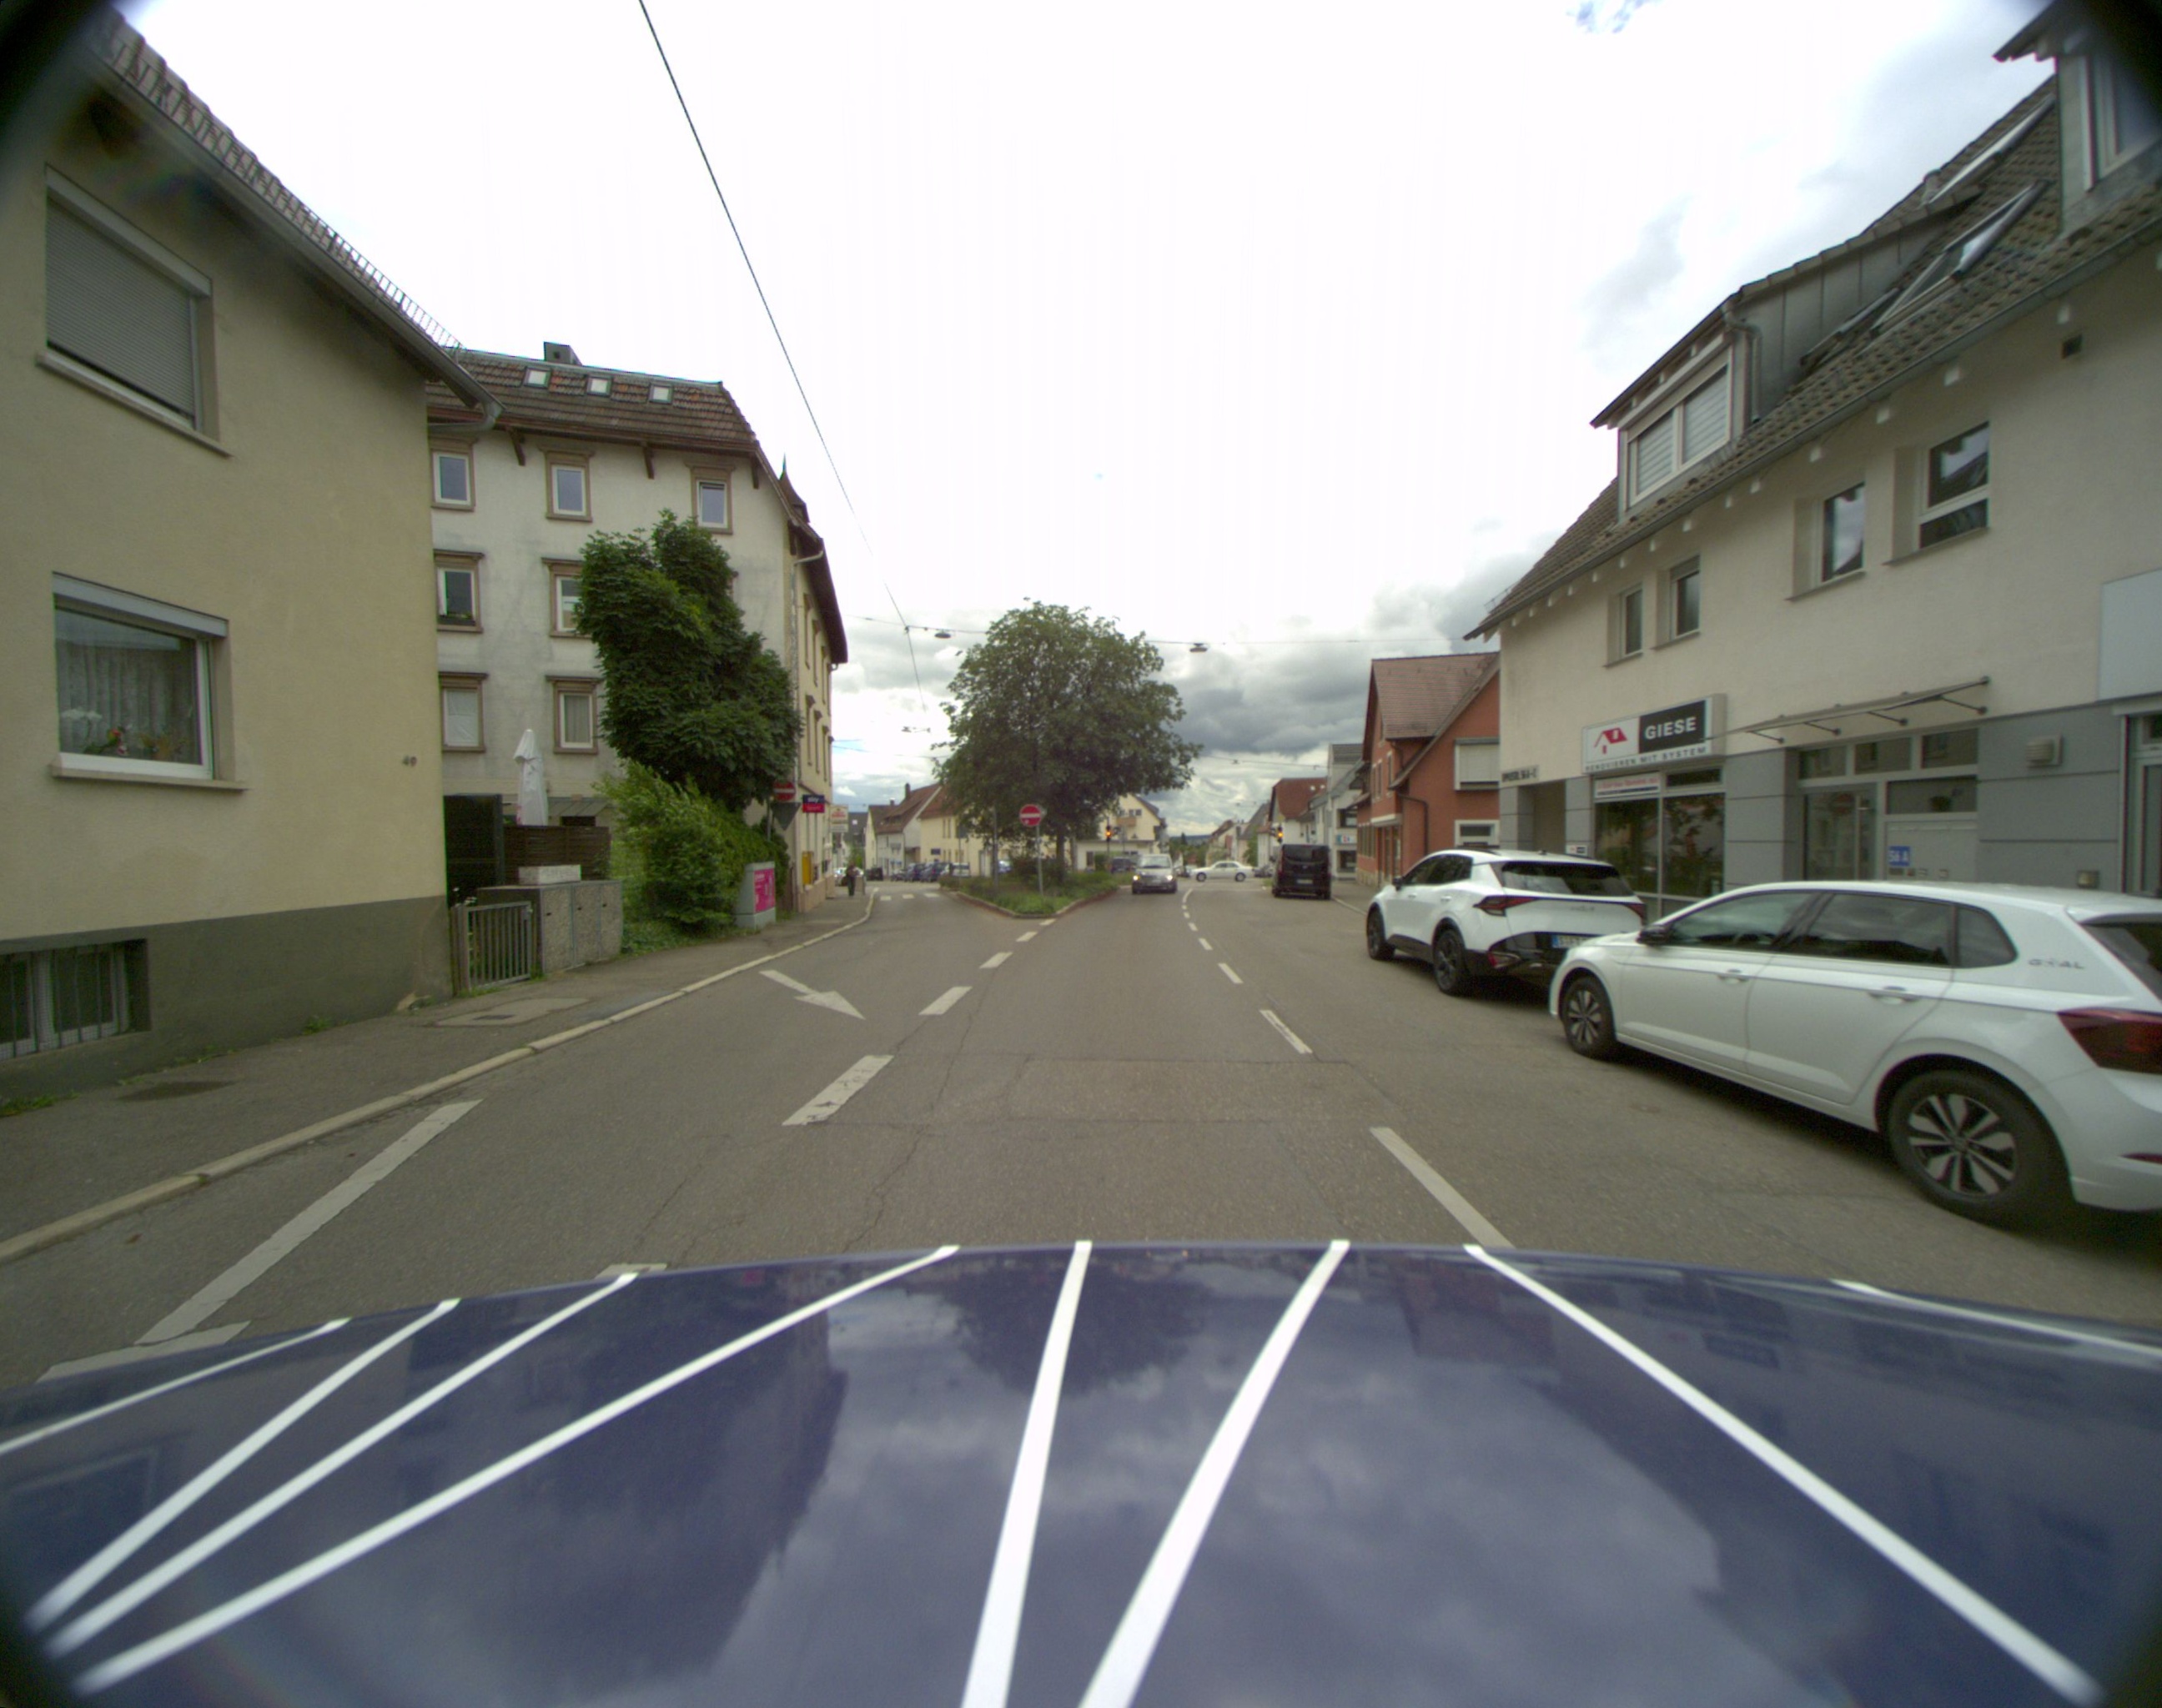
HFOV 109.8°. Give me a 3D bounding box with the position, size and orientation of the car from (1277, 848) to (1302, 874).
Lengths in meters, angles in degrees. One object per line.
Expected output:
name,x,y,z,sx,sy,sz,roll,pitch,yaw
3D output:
car,16.989,0.585,62.020,1.814,1.993,4.769,2,-1,14

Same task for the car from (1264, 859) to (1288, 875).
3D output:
car,21.501,1.465,83.938,1.841,1.623,4.411,1,-1,6

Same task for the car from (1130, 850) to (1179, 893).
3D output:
car,3.098,0.710,31.322,1.720,1.586,4.003,-2,-1,9

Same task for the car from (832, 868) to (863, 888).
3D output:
car,-17.951,1.876,58.273,1.777,1.470,3.824,2,-3,-24

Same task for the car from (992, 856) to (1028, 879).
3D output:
car,-6.142,1.209,65.215,1.904,1.791,4.887,-2,-1,-19

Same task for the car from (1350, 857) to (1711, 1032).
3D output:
car,5.095,0.870,9.609,2.002,1.623,4.859,-1,0,5

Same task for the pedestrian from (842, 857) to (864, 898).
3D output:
pedestrian,-10.036,1.039,33.518,0.861,1.722,1.021,-2,-1,-15

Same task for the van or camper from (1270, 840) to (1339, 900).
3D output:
van or camper,8.275,0.604,28.517,2.077,1.993,4.863,2,-1,12

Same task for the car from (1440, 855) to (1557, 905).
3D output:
car,12.762,0.757,23.409,2.833,1.466,1.744,0,1,15

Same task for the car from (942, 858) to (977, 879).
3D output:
car,-9.829,1.183,61.419,1.777,1.608,3.993,-2,-1,-24

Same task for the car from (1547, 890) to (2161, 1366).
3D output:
car,4.764,1.022,4.277,2.002,1.428,3.919,-1,0,3

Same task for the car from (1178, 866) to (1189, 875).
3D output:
car,17.807,2.878,131.682,1.612,1.446,3.862,-2,-1,5

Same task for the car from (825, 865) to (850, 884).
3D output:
car,-20.154,1.671,62.773,1.629,1.466,3.761,0,0,-22

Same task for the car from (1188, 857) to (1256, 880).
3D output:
car,9.962,1.005,53.861,4.562,1.436,2.001,2,-1,7

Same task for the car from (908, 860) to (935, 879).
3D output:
car,-15.555,1.494,74.085,1.724,1.720,3.993,-2,-1,-23

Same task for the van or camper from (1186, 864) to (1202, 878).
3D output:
van or camper,17.245,2.566,116.100,1.998,2.001,5.067,-3,-2,5

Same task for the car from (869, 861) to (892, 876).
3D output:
car,-25.726,1.851,97.360,2.285,1.720,3.993,-2,-1,-23

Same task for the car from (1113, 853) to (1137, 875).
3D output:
car,3.611,0.837,62.052,1.749,1.729,4.575,2,-1,6

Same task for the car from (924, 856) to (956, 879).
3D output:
car,-12.497,1.209,67.056,1.778,1.931,4.316,2,-3,-24

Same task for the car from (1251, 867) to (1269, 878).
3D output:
car,24.438,2.508,103.935,1.841,1.436,4.471,2,-1,6

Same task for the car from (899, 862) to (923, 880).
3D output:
car,-17.691,1.803,78.965,1.724,1.720,3.993,-2,-1,-23
